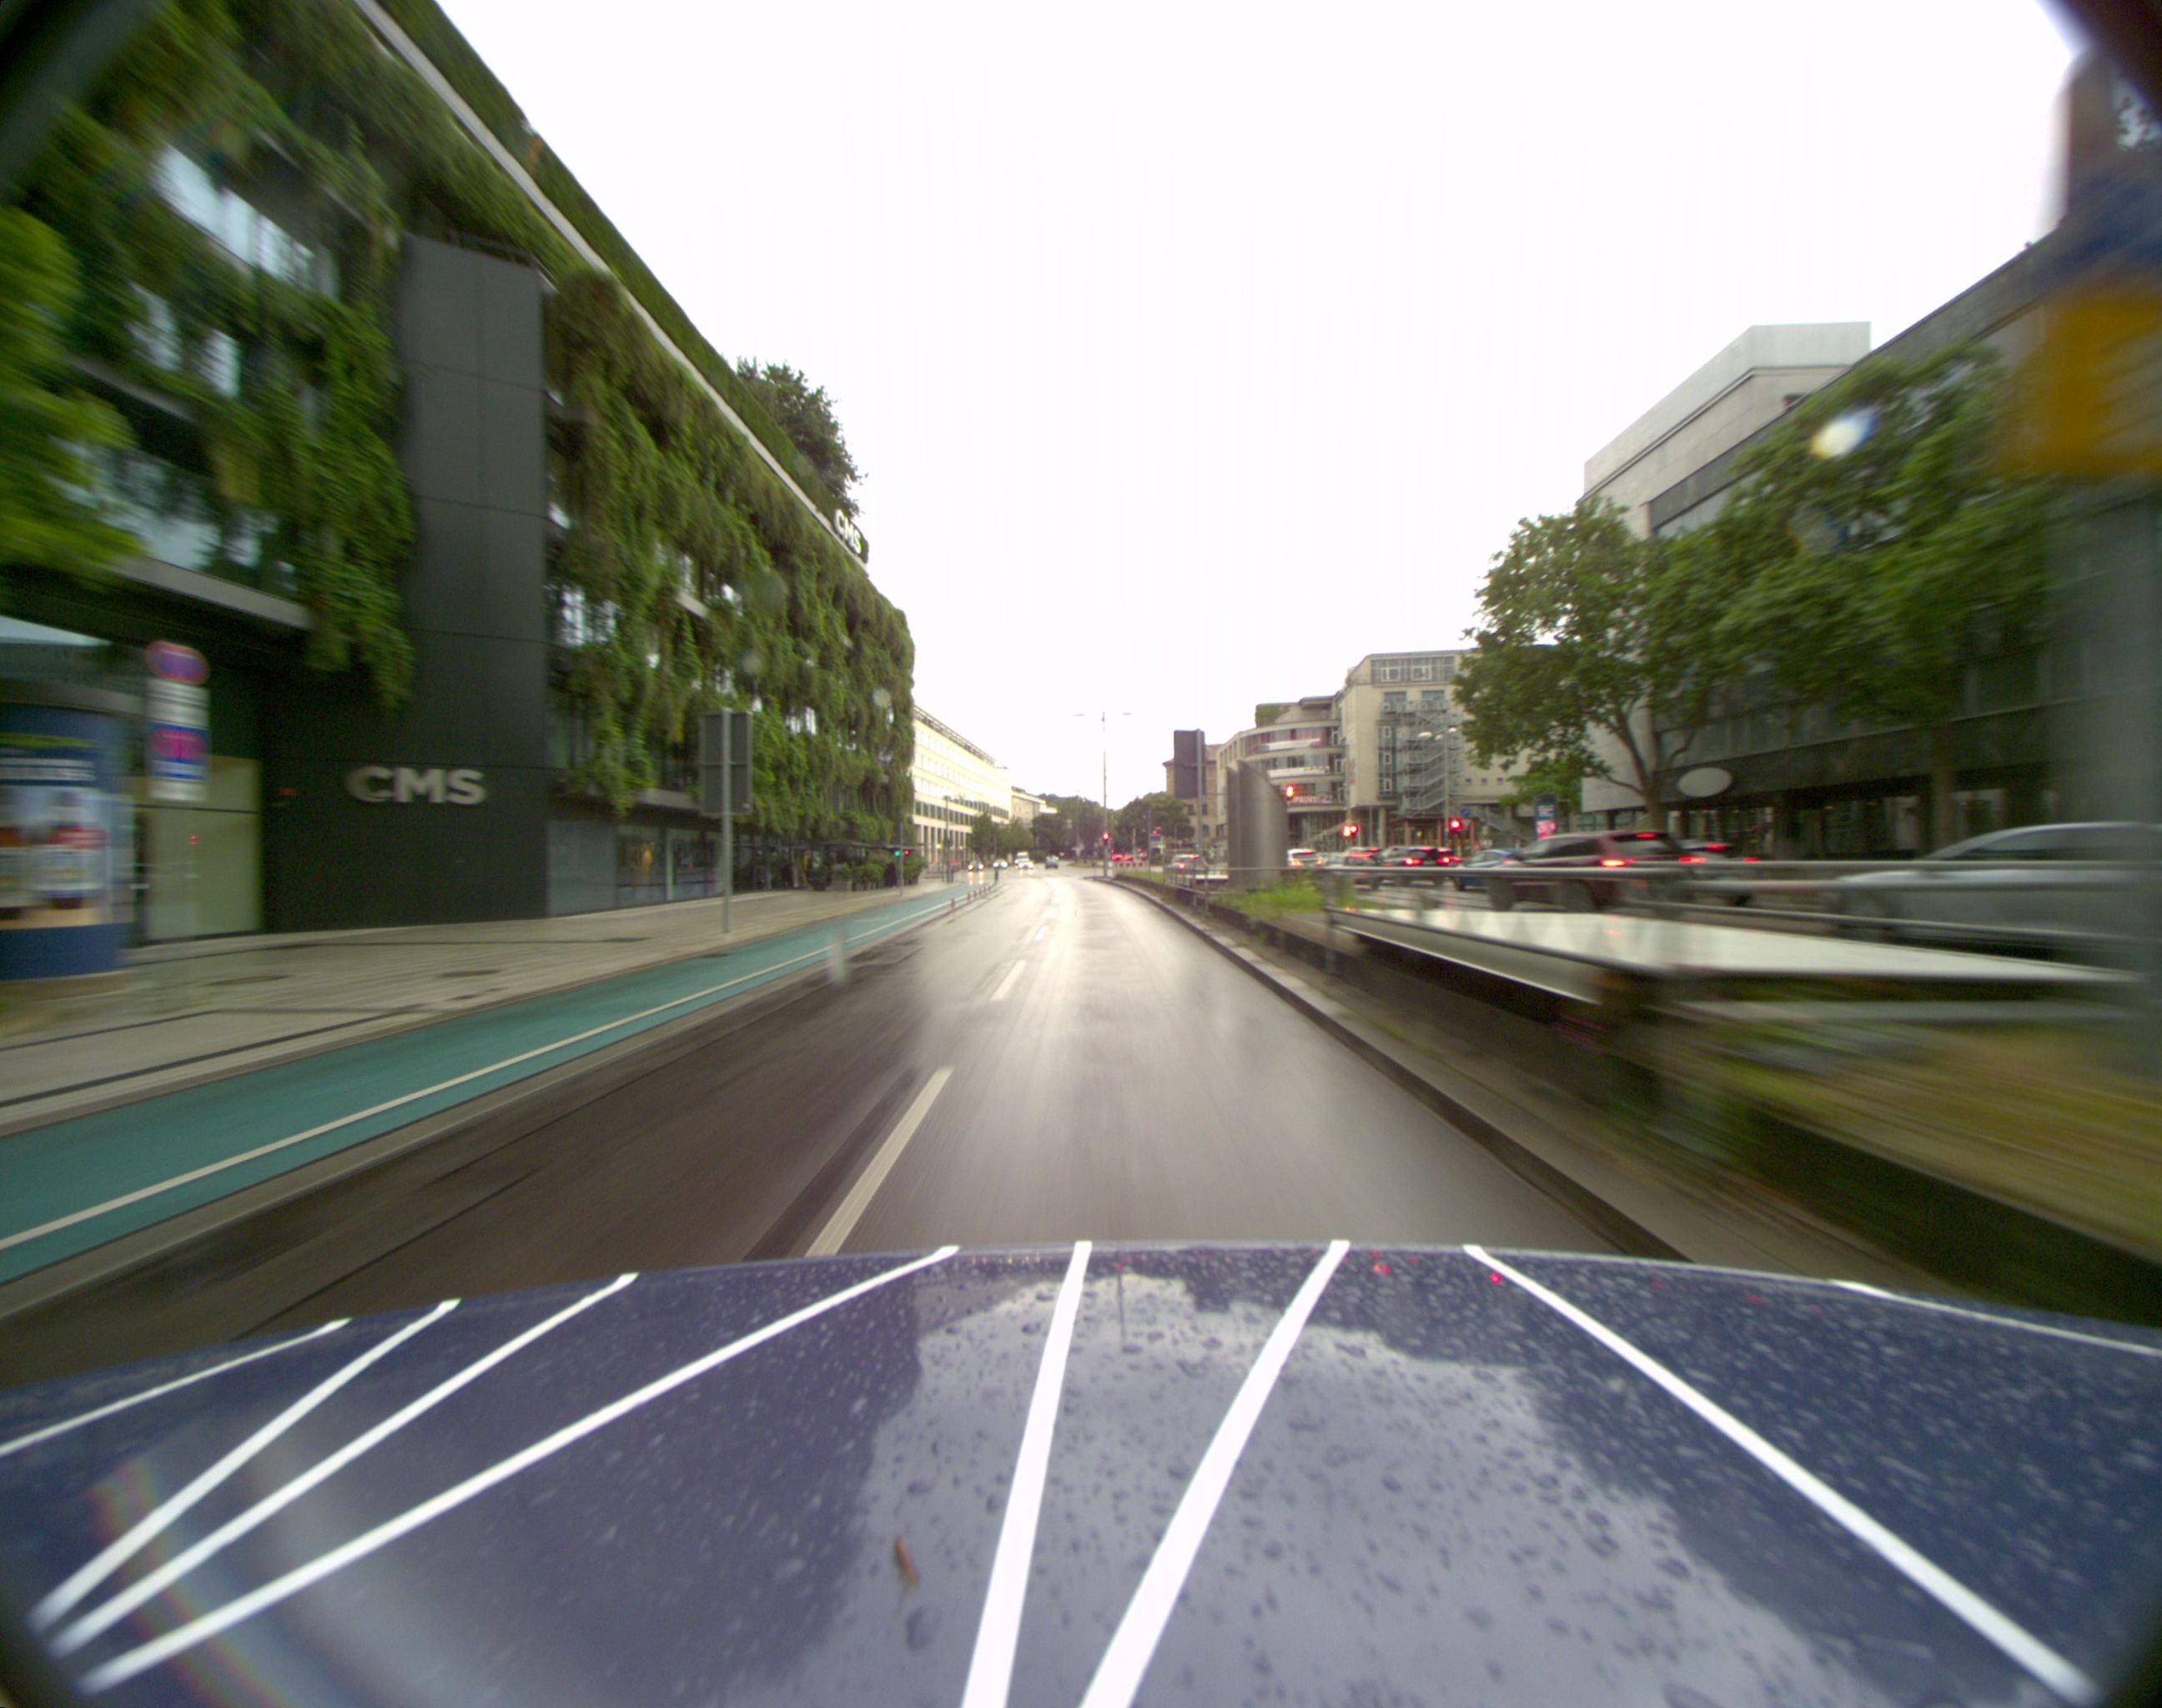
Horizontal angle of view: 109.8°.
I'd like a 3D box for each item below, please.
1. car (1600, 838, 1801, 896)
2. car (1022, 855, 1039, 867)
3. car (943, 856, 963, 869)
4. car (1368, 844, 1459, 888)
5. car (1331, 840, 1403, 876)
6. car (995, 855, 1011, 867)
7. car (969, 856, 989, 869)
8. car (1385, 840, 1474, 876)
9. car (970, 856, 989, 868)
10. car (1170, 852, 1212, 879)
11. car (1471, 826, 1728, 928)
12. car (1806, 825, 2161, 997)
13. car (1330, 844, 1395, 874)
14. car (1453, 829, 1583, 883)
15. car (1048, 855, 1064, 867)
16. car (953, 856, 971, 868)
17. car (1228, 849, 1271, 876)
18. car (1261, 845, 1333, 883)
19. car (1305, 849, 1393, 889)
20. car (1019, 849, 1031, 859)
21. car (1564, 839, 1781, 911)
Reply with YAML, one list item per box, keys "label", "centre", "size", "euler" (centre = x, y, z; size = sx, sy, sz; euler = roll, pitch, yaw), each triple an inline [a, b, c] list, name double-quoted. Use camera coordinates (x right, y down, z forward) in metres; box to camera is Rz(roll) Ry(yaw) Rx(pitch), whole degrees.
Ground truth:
- label: "car"
  centre: [17.492, 0.408, 21.813]
  size: [1.896, 1.437, 4.588]
  euler: [-2, -2, -2]
- label: "car"
  centre: [-6.859, 0.909, 103.615]
  size: [1.978, 1.543, 4.670]
  euler: [-2, 0, 1]
- label: "car"
  centre: [-16.565, 1.031, 98.478]
  size: [1.739, 1.543, 4.670]
  euler: [-2, 0, 1]
- label: "car"
  centre: [13.715, 0.481, 31.647]
  size: [1.848, 1.655, 4.412]
  euler: [-2, 0, 1]
- label: "car"
  centre: [13.508, 0.151, 36.113]
  size: [1.758, 1.556, 3.999]
  euler: [-2, 1, -2]
- label: "car"
  centre: [-11.372, 1.021, 111.509]
  size: [1.739, 1.543, 4.670]
  euler: [-2, 0, 1]
- label: "car"
  centre: [-12.607, 1.049, 93.844]
  size: [1.739, 1.543, 4.670]
  euler: [-2, 0, 1]
- label: "car"
  centre: [16.803, 0.174, 36.940]
  size: [1.999, 1.595, 4.586]
  euler: [-2, 1, -3]
- label: "car"
  centre: [-13.507, 1.059, 101.112]
  size: [1.739, 1.543, 4.670]
  euler: [-2, 0, 1]
- label: "car"
  centre: [6.456, 0.674, 44.910]
  size: [1.848, 1.473, 4.164]
  euler: [-2, 0, 0]
- label: "car"
  centre: [10.509, 0.418, 16.026]
  size: [1.840, 1.756, 5.108]
  euler: [-2, 0, -1]
- label: "car"
  centre: [10.752, 0.501, 7.969]
  size: [1.739, 1.564, 4.832]
  euler: [-2, 0, 1]
- label: "car"
  centre: [16.179, 0.256, 43.924]
  size: [1.762, 1.608, 4.659]
  euler: [-2, 1, -4]
- label: "car"
  centre: [13.974, 0.047, 24.585]
  size: [1.758, 1.556, 3.999]
  euler: [-2, 1, -2]
- label: "car"
  centre: [-3.426, 0.904, 103.040]
  size: [1.740, 1.543, 4.667]
  euler: [-2, 0, -7]
- label: "car"
  centre: [-16.605, 1.140, 106.288]
  size: [1.739, 1.543, 4.670]
  euler: [-2, 0, 1]
- label: "car"
  centre: [9.689, 0.473, 43.841]
  size: [1.721, 1.467, 3.431]
  euler: [-2, 0, 0]
- label: "car"
  centre: [10.426, 0.452, 37.085]
  size: [1.882, 1.675, 4.797]
  euler: [-2, 0, -3]
- label: "car"
  centre: [10.633, 0.558, 30.555]
  size: [1.848, 1.442, 4.916]
  euler: [-2, 0, 1]
- label: "car"
  centre: [-11.267, 0.014, 152.764]
  size: [1.998, 2.002, 4.000]
  euler: [-2, 0, 1]
- label: "car"
  centre: [14.063, 0.454, 18.476]
  size: [1.723, 1.482, 4.569]
  euler: [-2, 0, 1]
